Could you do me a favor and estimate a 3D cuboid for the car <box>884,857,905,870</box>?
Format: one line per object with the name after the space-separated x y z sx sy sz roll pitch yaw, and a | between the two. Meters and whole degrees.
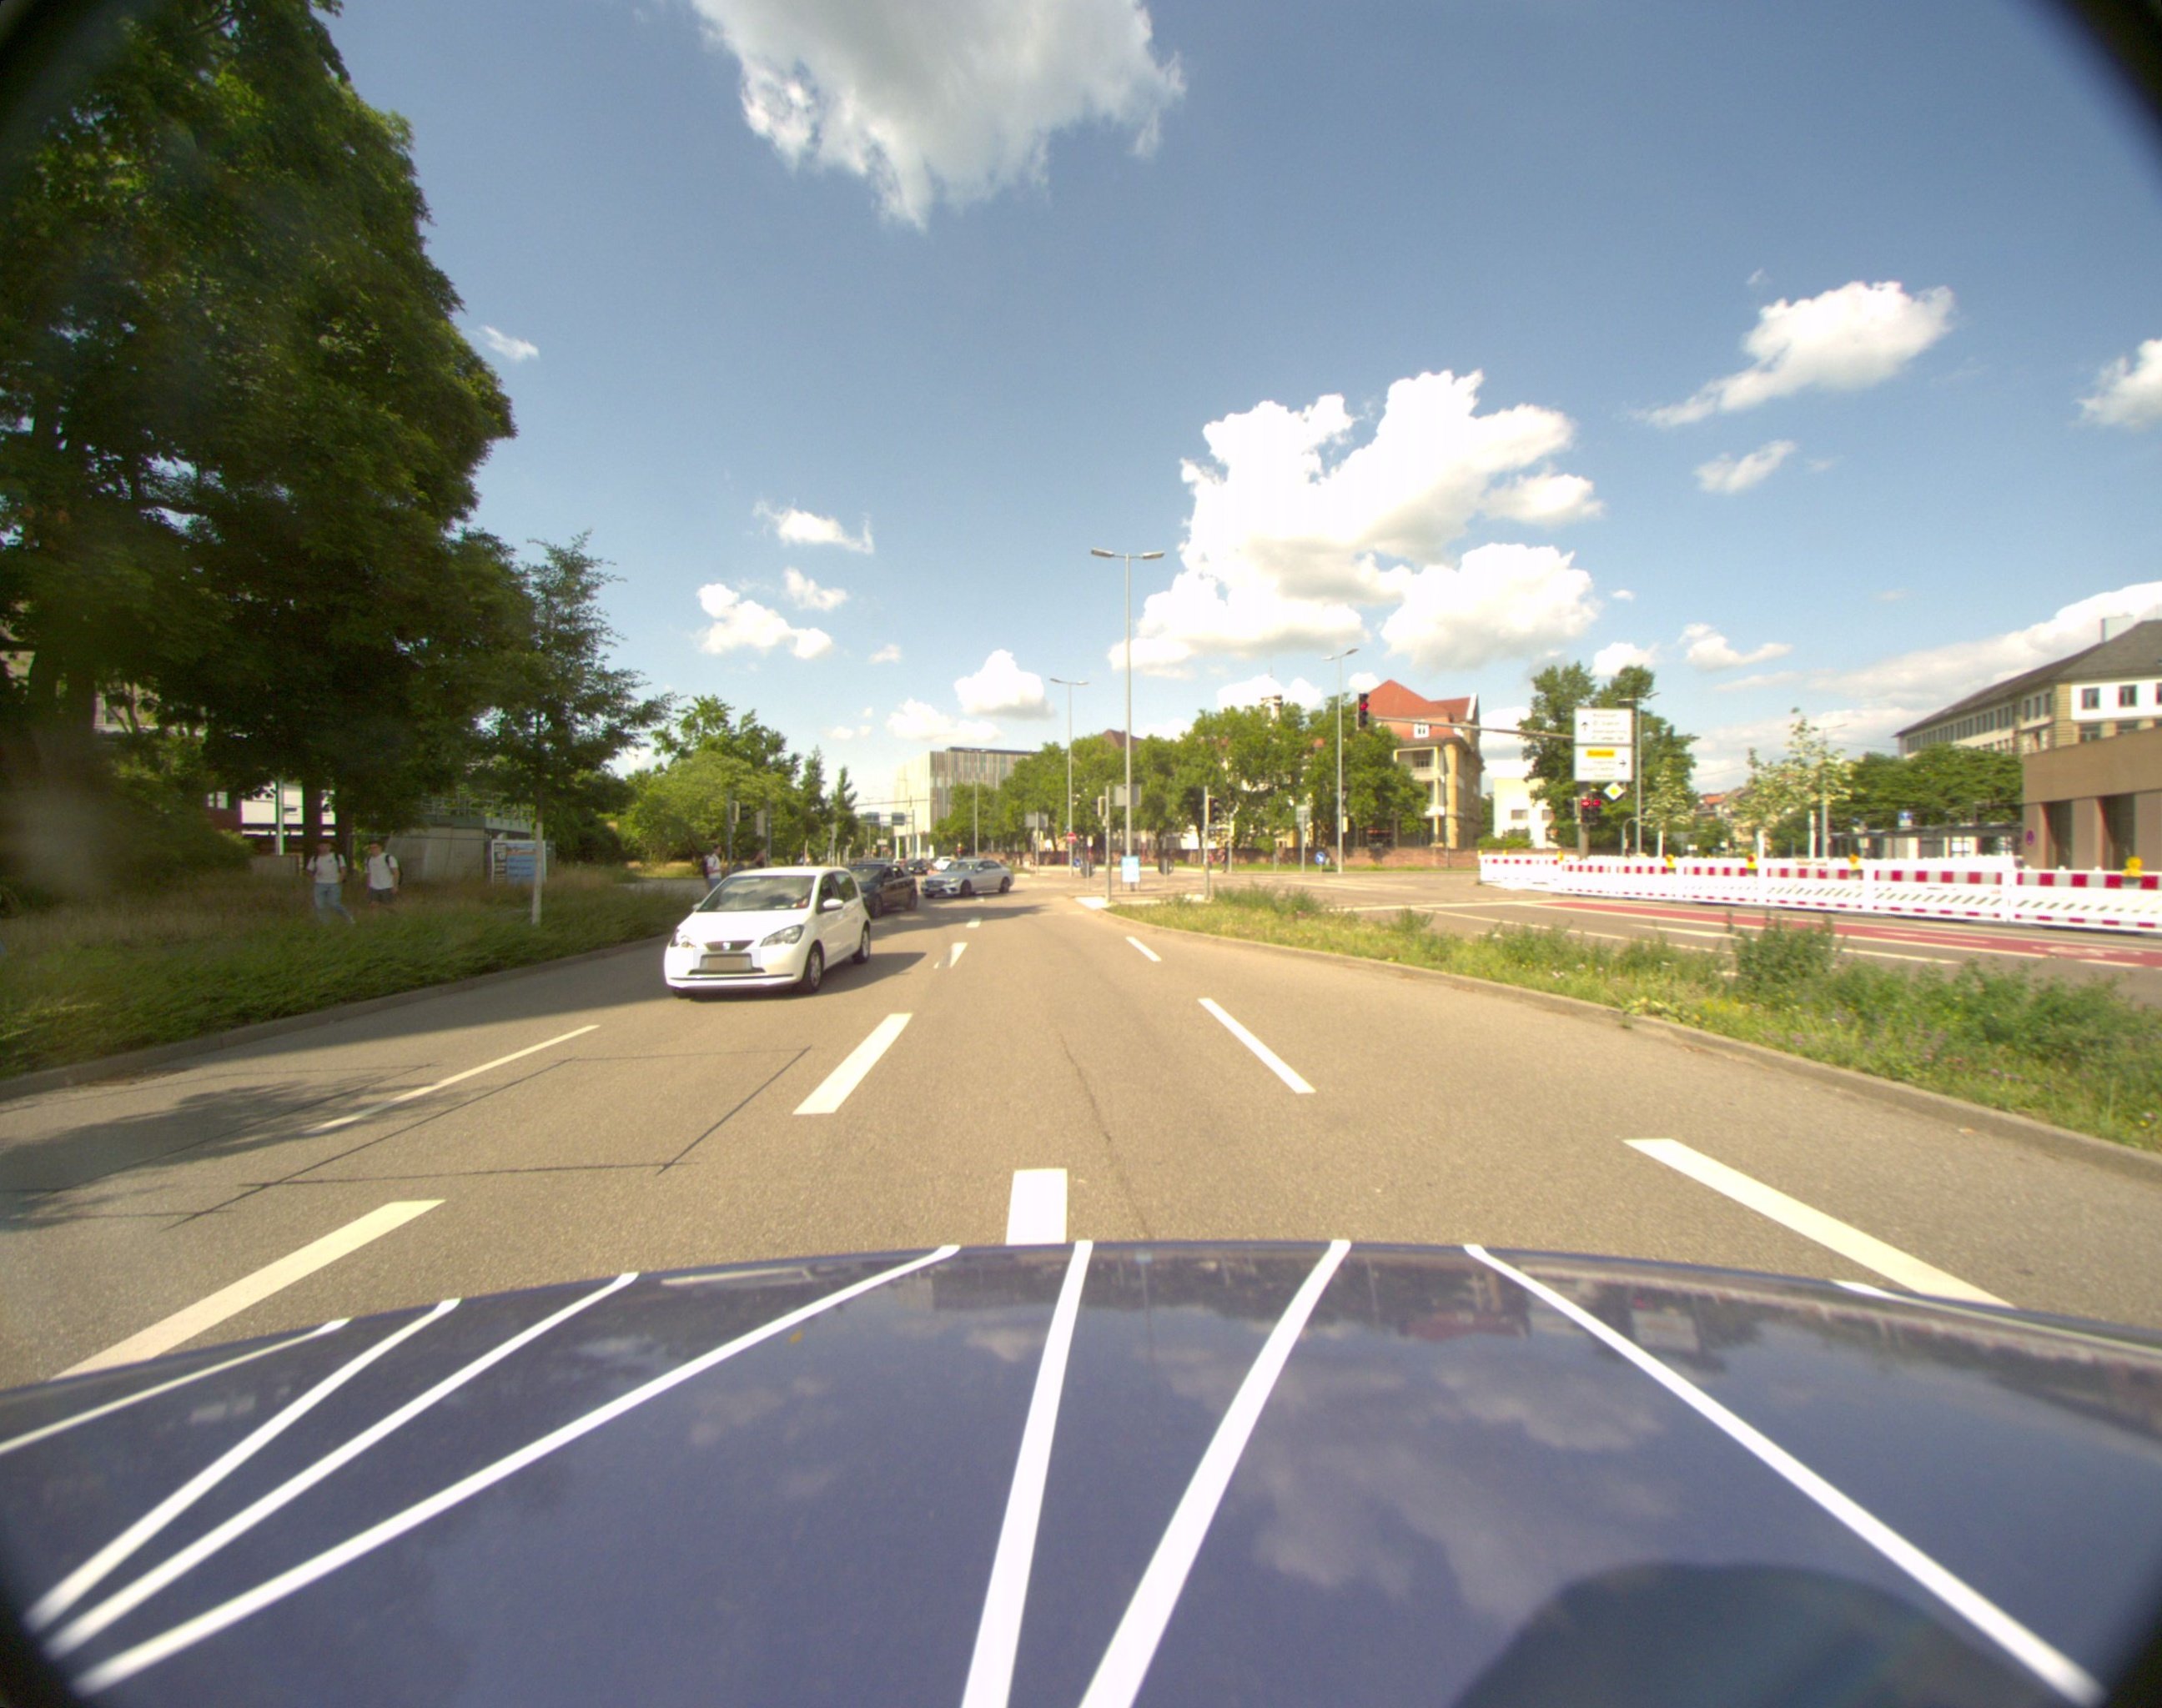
-18.419 0.926 75.099 1.911 1.127 4.096 -1 2 -13 | car

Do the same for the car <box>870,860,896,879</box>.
-16.223 1.216 62.384 1.827 1.454 3.995 -1 0 -13 | car

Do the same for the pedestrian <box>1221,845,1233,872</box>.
11.137 0.343 57.831 0.582 1.982 0.621 -3 1 -27 | pedestrian

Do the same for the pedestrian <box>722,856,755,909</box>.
-11.475 0.946 25.468 0.768 1.725 0.718 -2 1 -8 | pedestrian

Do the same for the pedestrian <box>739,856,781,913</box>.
-10.102 0.942 23.927 0.928 1.725 0.768 -2 1 -2 | pedestrian

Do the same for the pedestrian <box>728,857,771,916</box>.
-10.090 0.964 23.151 0.928 1.725 0.768 -2 1 -2 | pedestrian

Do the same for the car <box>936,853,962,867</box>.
-13.759 0.634 78.892 1.781 1.346 3.992 -2 1 -23 | car

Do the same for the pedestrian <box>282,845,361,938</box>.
-14.391 0.681 14.422 0.616 1.690 0.889 2 1 -5 | pedestrian

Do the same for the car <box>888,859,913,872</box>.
-16.351 1.053 68.754 1.600 1.127 3.622 -1 0 -23 | car

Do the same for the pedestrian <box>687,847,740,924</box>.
-9.940 0.836 20.564 0.965 2.002 0.768 -2 1 -2 | pedestrian

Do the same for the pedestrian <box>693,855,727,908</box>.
-12.502 0.901 25.624 0.768 1.725 0.718 -2 1 -8 | pedestrian

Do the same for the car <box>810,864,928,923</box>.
-5.770 1.027 21.237 1.702 1.364 4.134 -1 1 6 | car

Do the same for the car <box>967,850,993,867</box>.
-8.650 0.363 65.018 2.000 1.368 4.265 -2 1 -10 | car

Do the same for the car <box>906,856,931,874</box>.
-13.764 0.904 64.311 1.828 1.454 3.995 -1 0 -15 | car

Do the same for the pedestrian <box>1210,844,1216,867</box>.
10.329 0.123 59.431 0.369 1.722 0.450 -2 1 -5 | pedestrian

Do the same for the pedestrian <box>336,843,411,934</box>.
-13.596 0.645 14.626 0.616 1.690 0.889 2 1 -5 | pedestrian

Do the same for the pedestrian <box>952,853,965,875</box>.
-9.679 0.765 60.128 0.739 1.704 0.874 -3 1 -22 | pedestrian

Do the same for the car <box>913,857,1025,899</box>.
-4.323 0.885 30.171 1.932 1.447 4.767 -1 1 28 | car

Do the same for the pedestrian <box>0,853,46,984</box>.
-13.845 0.810 9.496 0.616 1.613 0.889 2 1 -5 | pedestrian

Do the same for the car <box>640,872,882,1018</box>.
-3.972 1.026 10.199 1.654 1.413 3.999 -2 0 -3 | car
